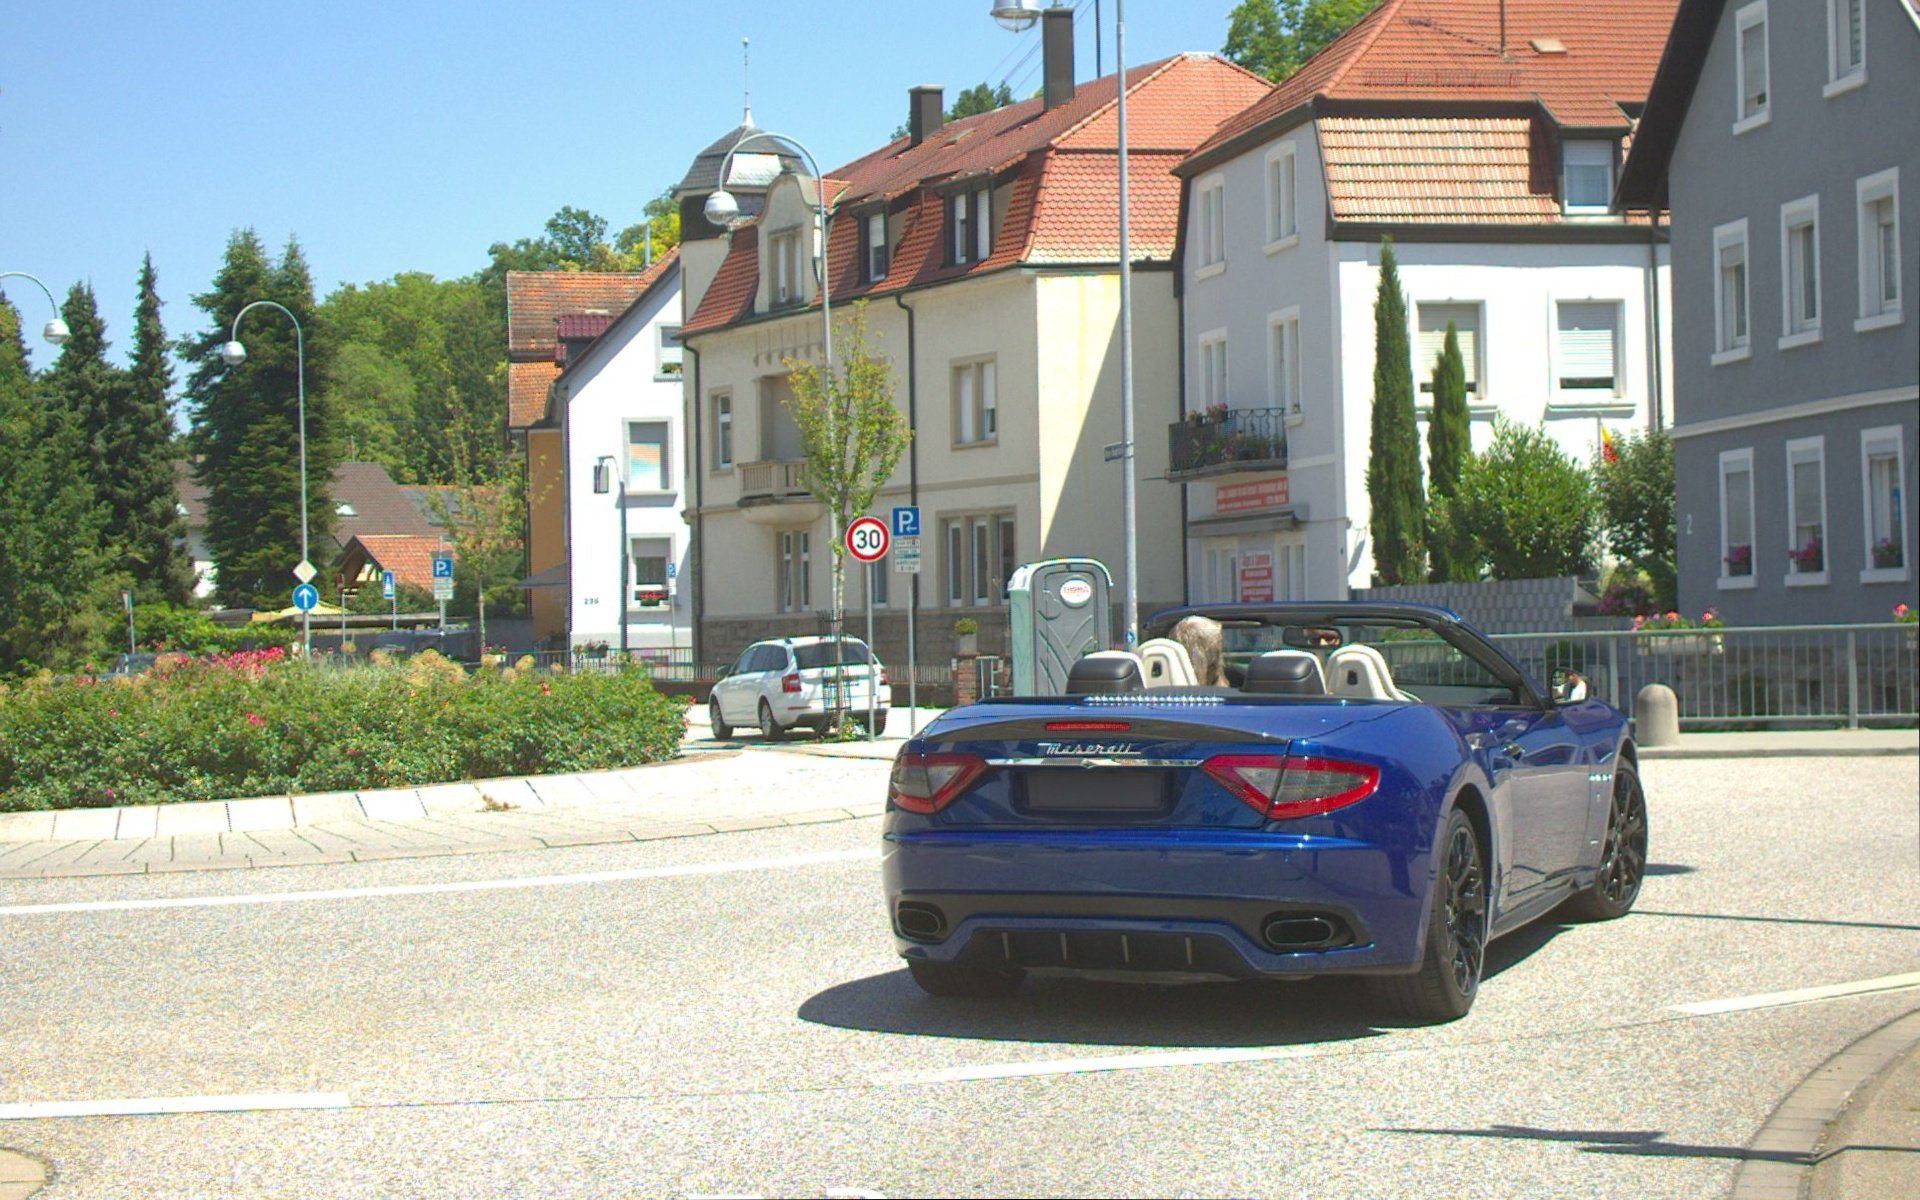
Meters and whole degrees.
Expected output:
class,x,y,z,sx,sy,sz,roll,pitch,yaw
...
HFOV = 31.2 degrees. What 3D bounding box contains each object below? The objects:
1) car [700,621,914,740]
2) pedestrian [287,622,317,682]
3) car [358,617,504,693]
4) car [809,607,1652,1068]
class,x,y,z,sx,sy,sz,roll,pitch,yaw
car,-2.287,1.187,50.153,1.918,1.607,4.148,-2,-1,-20
pedestrian,-17.507,1.377,91.507,0.611,1.580,0.587,-1,0,-26
car,-11.923,1.254,77.344,1.850,1.583,4.000,-2,0,-30
car,1.182,0.711,12.461,1.912,1.356,4.281,0,0,21
